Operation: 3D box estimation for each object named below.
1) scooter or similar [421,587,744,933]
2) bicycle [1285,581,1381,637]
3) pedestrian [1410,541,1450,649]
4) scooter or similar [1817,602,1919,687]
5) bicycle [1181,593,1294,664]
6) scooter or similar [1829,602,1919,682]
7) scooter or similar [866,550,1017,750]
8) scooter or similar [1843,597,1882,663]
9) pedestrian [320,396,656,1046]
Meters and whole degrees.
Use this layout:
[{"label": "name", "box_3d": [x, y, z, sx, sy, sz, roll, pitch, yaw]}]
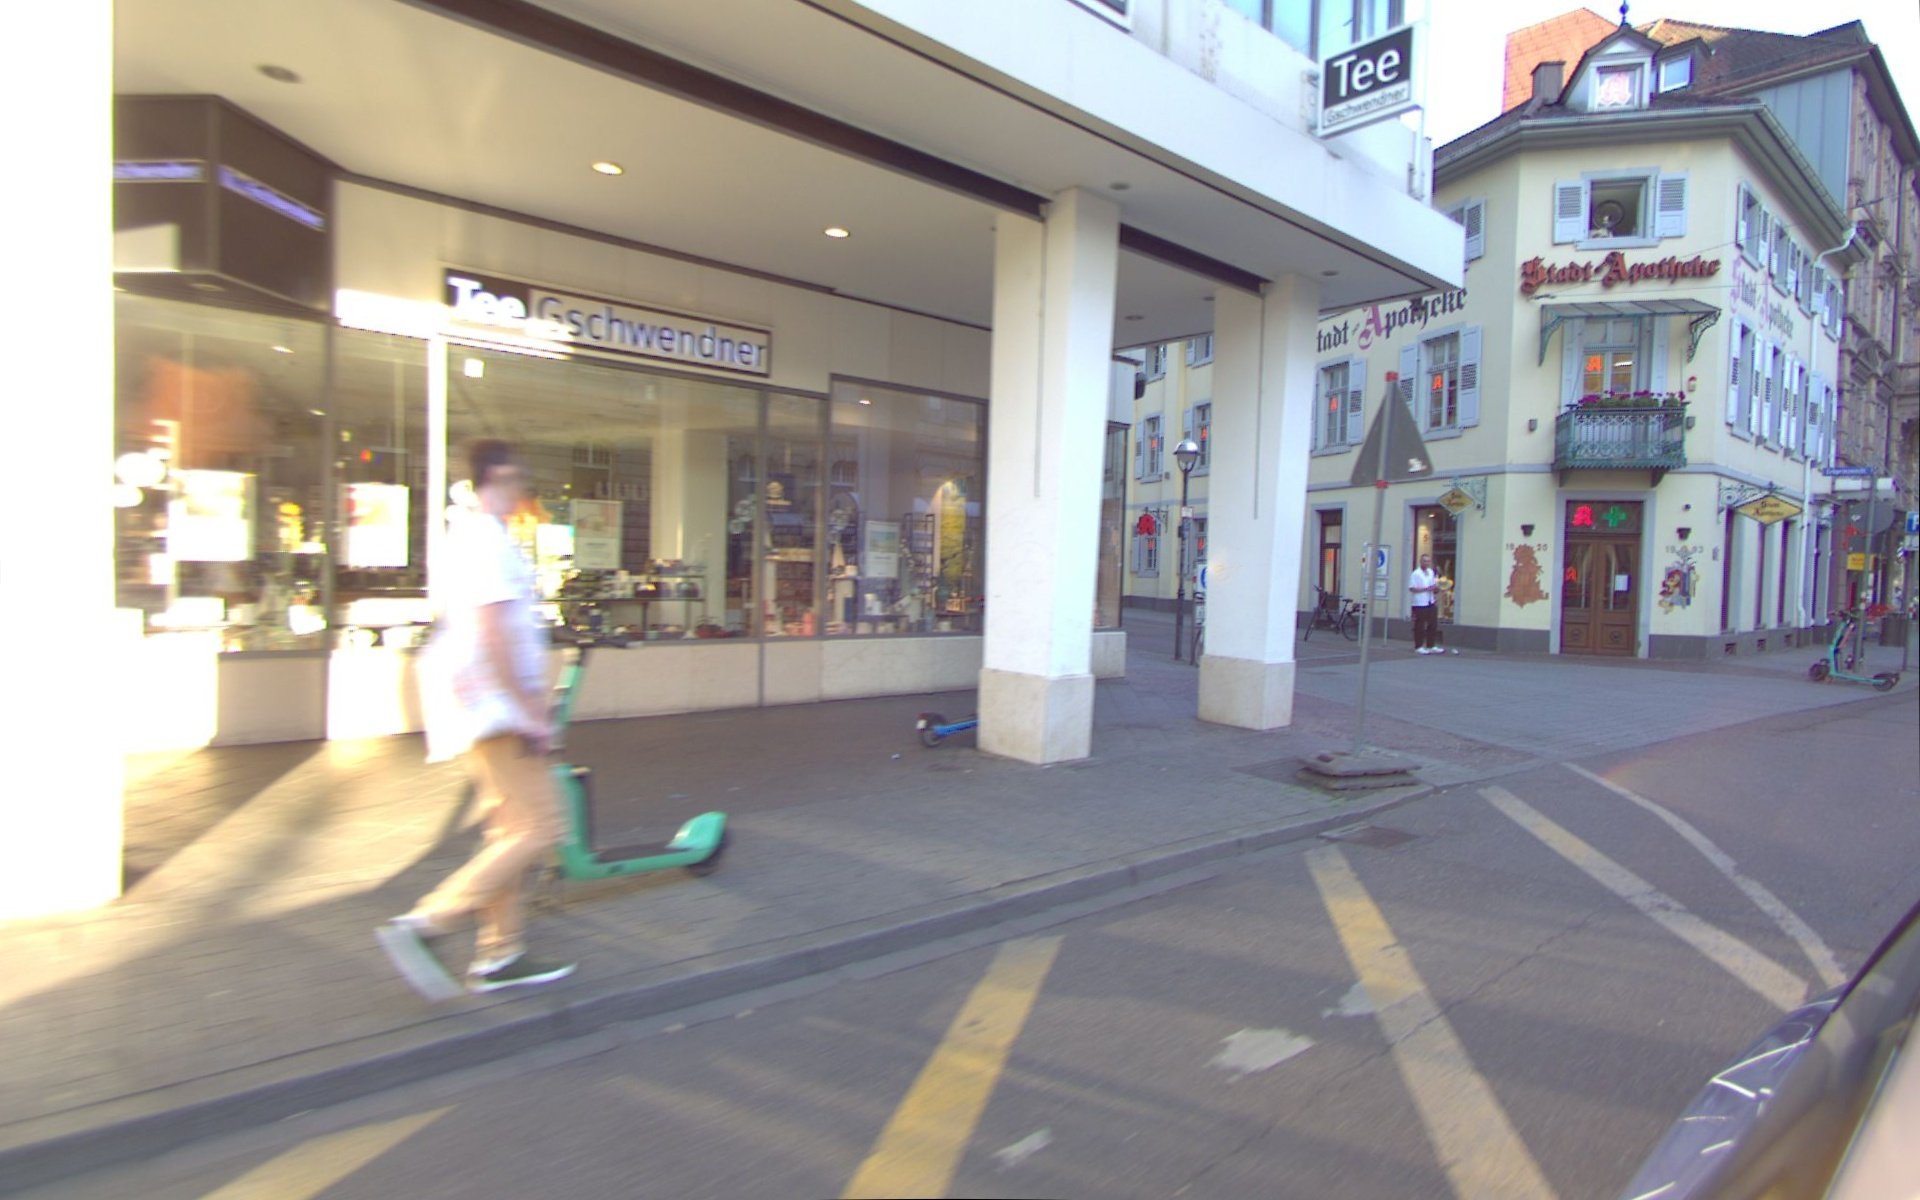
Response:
[{"label": "scooter or similar", "box_3d": [-1.562, 0.580, 4.260, 1.159, 1.249, 0.506, 0, 2, -41]}, {"label": "bicycle", "box_3d": [8.188, 0.192, 22.253, 1.808, 1.196, 0.773, 0, 1, -10]}, {"label": "pedestrian", "box_3d": [9.113, -0.113, 19.616, 0.540, 2.038, 0.637, 2, 2, 36]}, {"label": "scooter or similar", "box_3d": [14.800, 0.702, 16.495, 0.310, 1.249, 1.182, 1, 3, -24]}, {"label": "bicycle", "box_3d": [4.393, 0.456, 15.980, 1.812, 1.042, 0.771, 2, -1, -38]}, {"label": "scooter or similar", "box_3d": [15.303, 0.693, 16.963, 1.034, 1.249, 0.271, 3, 3, 18]}, {"label": "scooter or similar", "box_3d": [-0.132, 0.371, 8.195, 1.292, 1.507, 0.314, 0, 2, -41]}, {"label": "scooter or similar", "box_3d": [17.768, 0.566, 19.923, 1.283, 1.249, 0.272, 0, 3, -37]}, {"label": "pedestrian", "box_3d": [-1.584, 0.334, 3.408, 0.838, 1.838, 0.700, 0, 1, -44]}]
